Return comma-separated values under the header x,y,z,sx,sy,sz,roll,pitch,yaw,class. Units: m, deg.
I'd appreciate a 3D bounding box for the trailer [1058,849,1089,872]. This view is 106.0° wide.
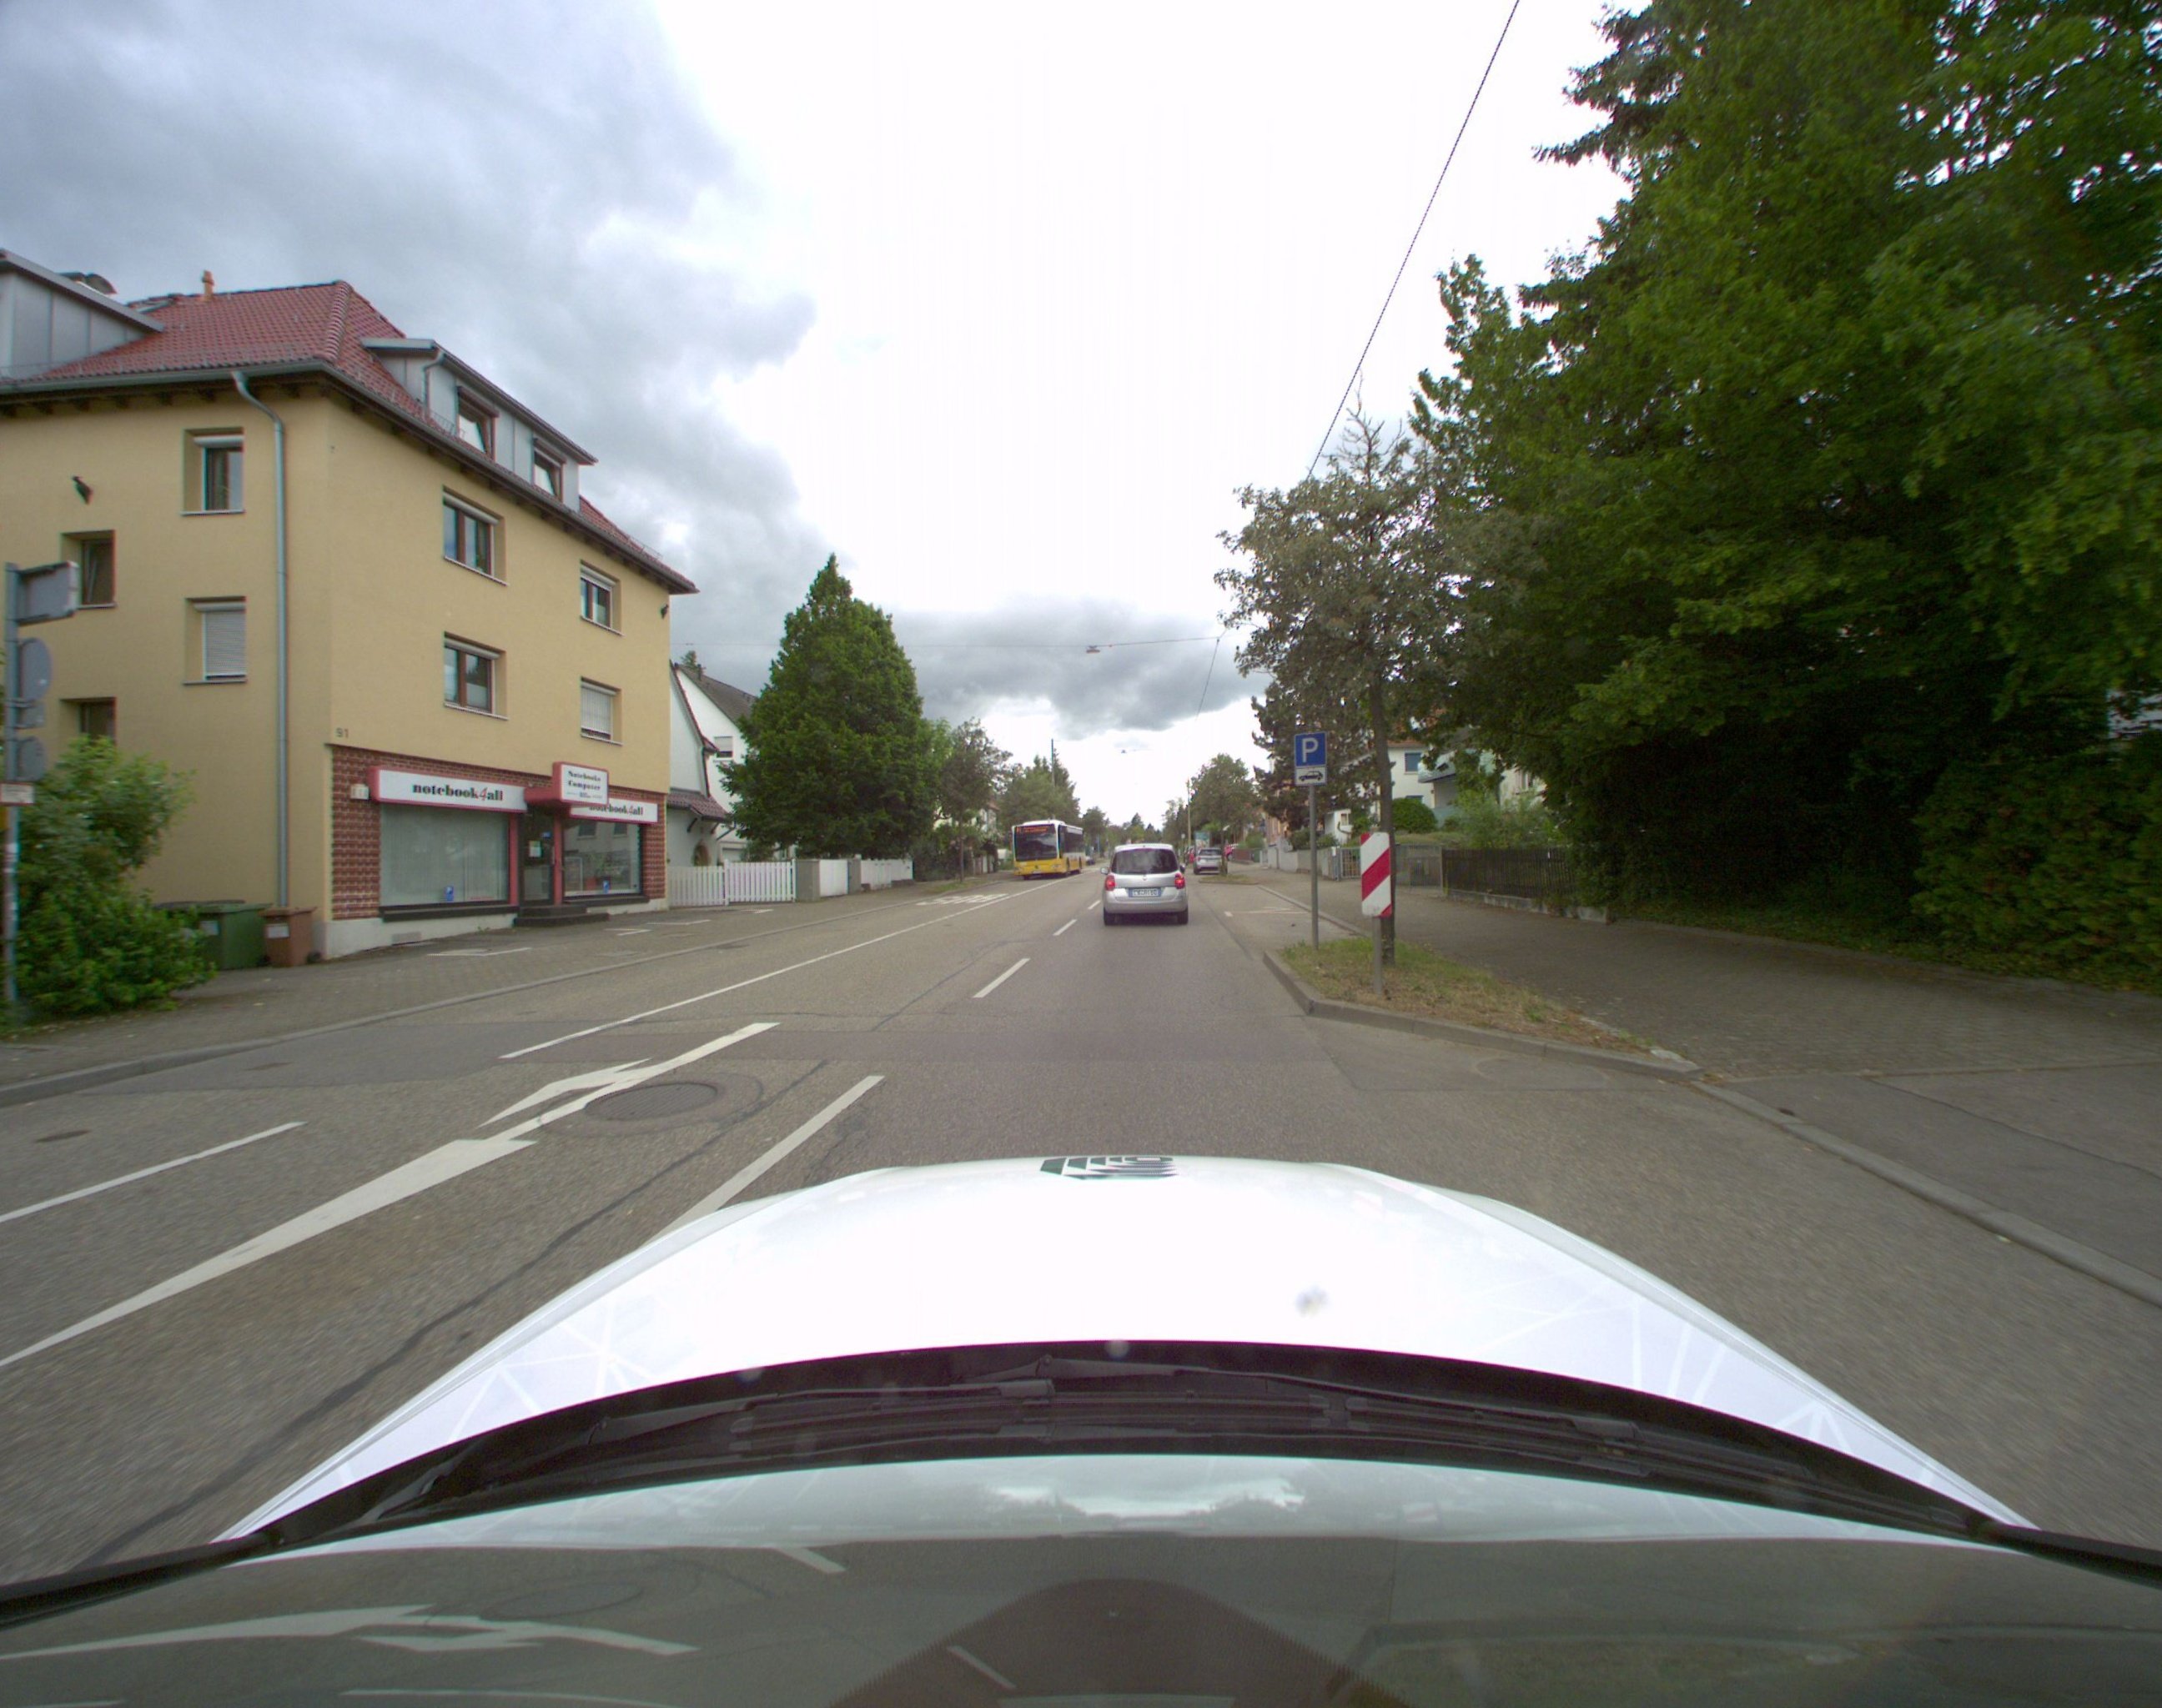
x,y,z,sx,sy,sz,roll,pitch,yaw,class
-0.649,0.610,74.884,2.301,2.087,5.879,0,-1,4,trailer

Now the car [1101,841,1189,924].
x,y,z,sx,sy,sz,roll,pitch,yaw,class
1.402,0.552,17.240,1.622,1.557,4.006,0,-1,6,car

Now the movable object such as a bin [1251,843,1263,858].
x,y,z,sx,sy,sz,roll,pitch,yaw,class
13.364,-0.277,61.782,0.772,1.104,0.692,-2,0,5,movable object such as a bin

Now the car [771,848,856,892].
x,y,z,sx,sy,sz,roll,pitch,yaw,class
-11.007,0.595,33.890,1.799,1.564,4.621,-4,1,2,car

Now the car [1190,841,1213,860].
x,y,z,sx,sy,sz,roll,pitch,yaw,class
9.322,-0.263,63.235,1.653,1.393,3.676,-2,0,8,car

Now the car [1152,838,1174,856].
x,y,z,sx,sy,sz,roll,pitch,yaw,class
8.531,-0.720,84.424,1.817,1.675,3.586,-2,0,12,car

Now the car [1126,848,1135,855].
x,y,z,sx,sy,sz,roll,pitch,yaw,class
11.349,-0.574,186.706,1.899,1.618,4.000,-1,-1,1,car

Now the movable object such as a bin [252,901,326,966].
x,y,z,sx,sy,sz,roll,pitch,yaw,class
-12.372,1.234,12.734,0.550,0.949,0.608,-3,-2,8,movable object such as a bin

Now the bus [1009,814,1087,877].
x,y,z,sx,sy,sz,roll,pitch,yaw,class
-1.627,-0.497,47.404,2.618,3.086,12.091,-3,0,6,bus

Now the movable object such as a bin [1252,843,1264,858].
x,y,z,sx,sy,sz,roll,pitch,yaw,class
13.255,-0.245,61.030,0.772,1.104,0.692,-2,0,5,movable object such as a bin

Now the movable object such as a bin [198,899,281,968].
x,y,z,sx,sy,sz,roll,pitch,yaw,class
-13.049,1.216,12.640,0.550,1.003,0.691,-3,-2,9,movable object such as a bin

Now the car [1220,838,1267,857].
x,y,z,sx,sy,sz,roll,pitch,yaw,class
15.229,-0.624,76.499,3.978,1.496,1.808,-5,0,-3,car

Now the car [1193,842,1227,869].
x,y,z,sx,sy,sz,roll,pitch,yaw,class
7.008,0.121,44.403,1.641,1.382,4.007,-1,-1,6,car

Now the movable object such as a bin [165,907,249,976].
x,y,z,sx,sy,sz,roll,pitch,yaw,class
-13.642,1.351,12.720,0.550,1.003,0.691,-3,-2,9,movable object such as a bin
